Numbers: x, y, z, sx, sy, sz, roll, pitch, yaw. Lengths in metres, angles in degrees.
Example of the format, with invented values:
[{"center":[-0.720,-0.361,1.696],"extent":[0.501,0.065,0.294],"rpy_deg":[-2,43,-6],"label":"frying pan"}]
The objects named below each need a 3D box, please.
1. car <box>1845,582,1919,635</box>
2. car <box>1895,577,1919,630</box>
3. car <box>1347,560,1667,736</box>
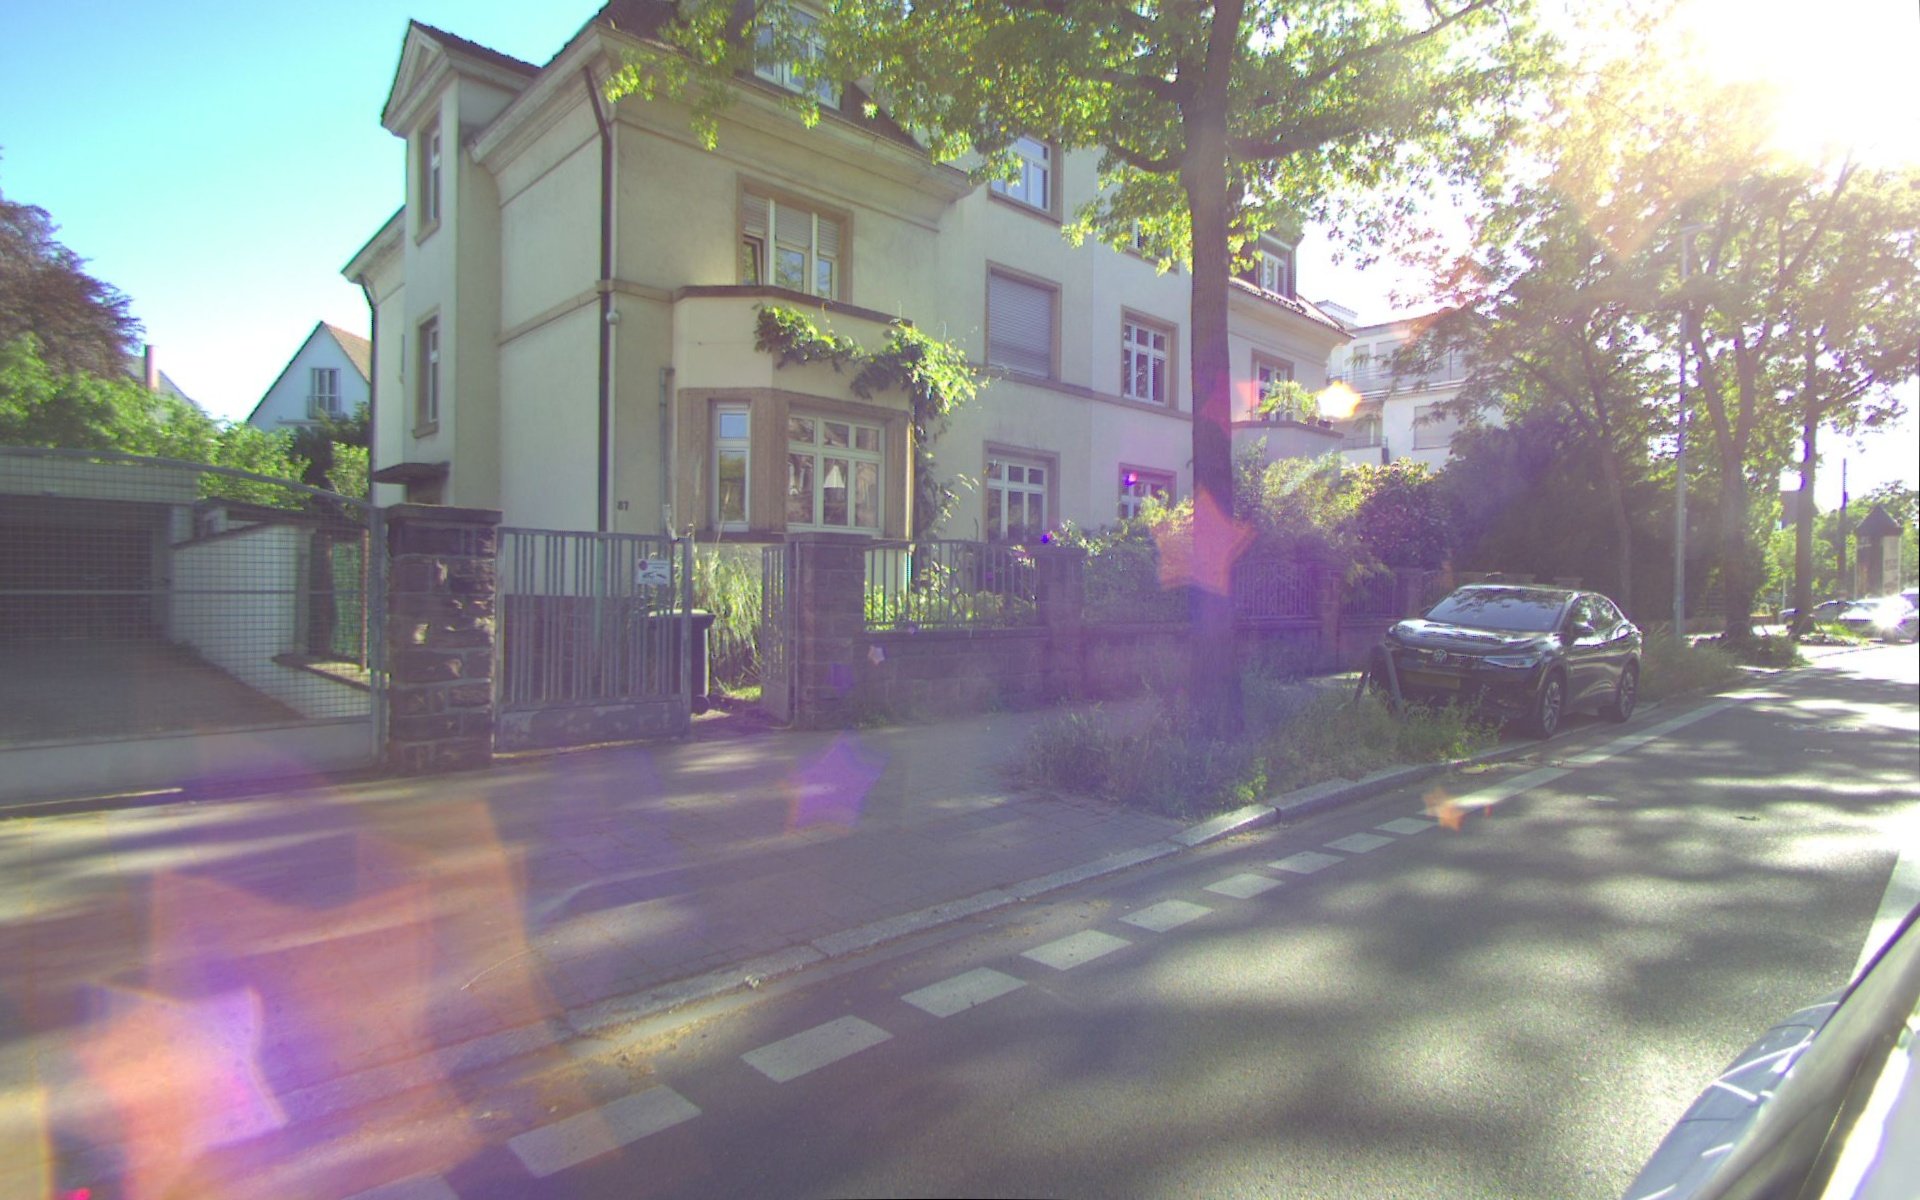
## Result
[{"center":[31.509,0.249,34.096],"extent":[3.927,1.660,1.824],"rpy_deg":[0,1,-38],"label":"car"},{"center":[36.764,0.126,37.873],"extent":[4.663,1.919,2.128],"rpy_deg":[0,1,-41],"label":"car"},{"center":[6.700,0.478,12.193],"extent":[4.304,1.695,1.997],"rpy_deg":[1,2,-42],"label":"car"}]
